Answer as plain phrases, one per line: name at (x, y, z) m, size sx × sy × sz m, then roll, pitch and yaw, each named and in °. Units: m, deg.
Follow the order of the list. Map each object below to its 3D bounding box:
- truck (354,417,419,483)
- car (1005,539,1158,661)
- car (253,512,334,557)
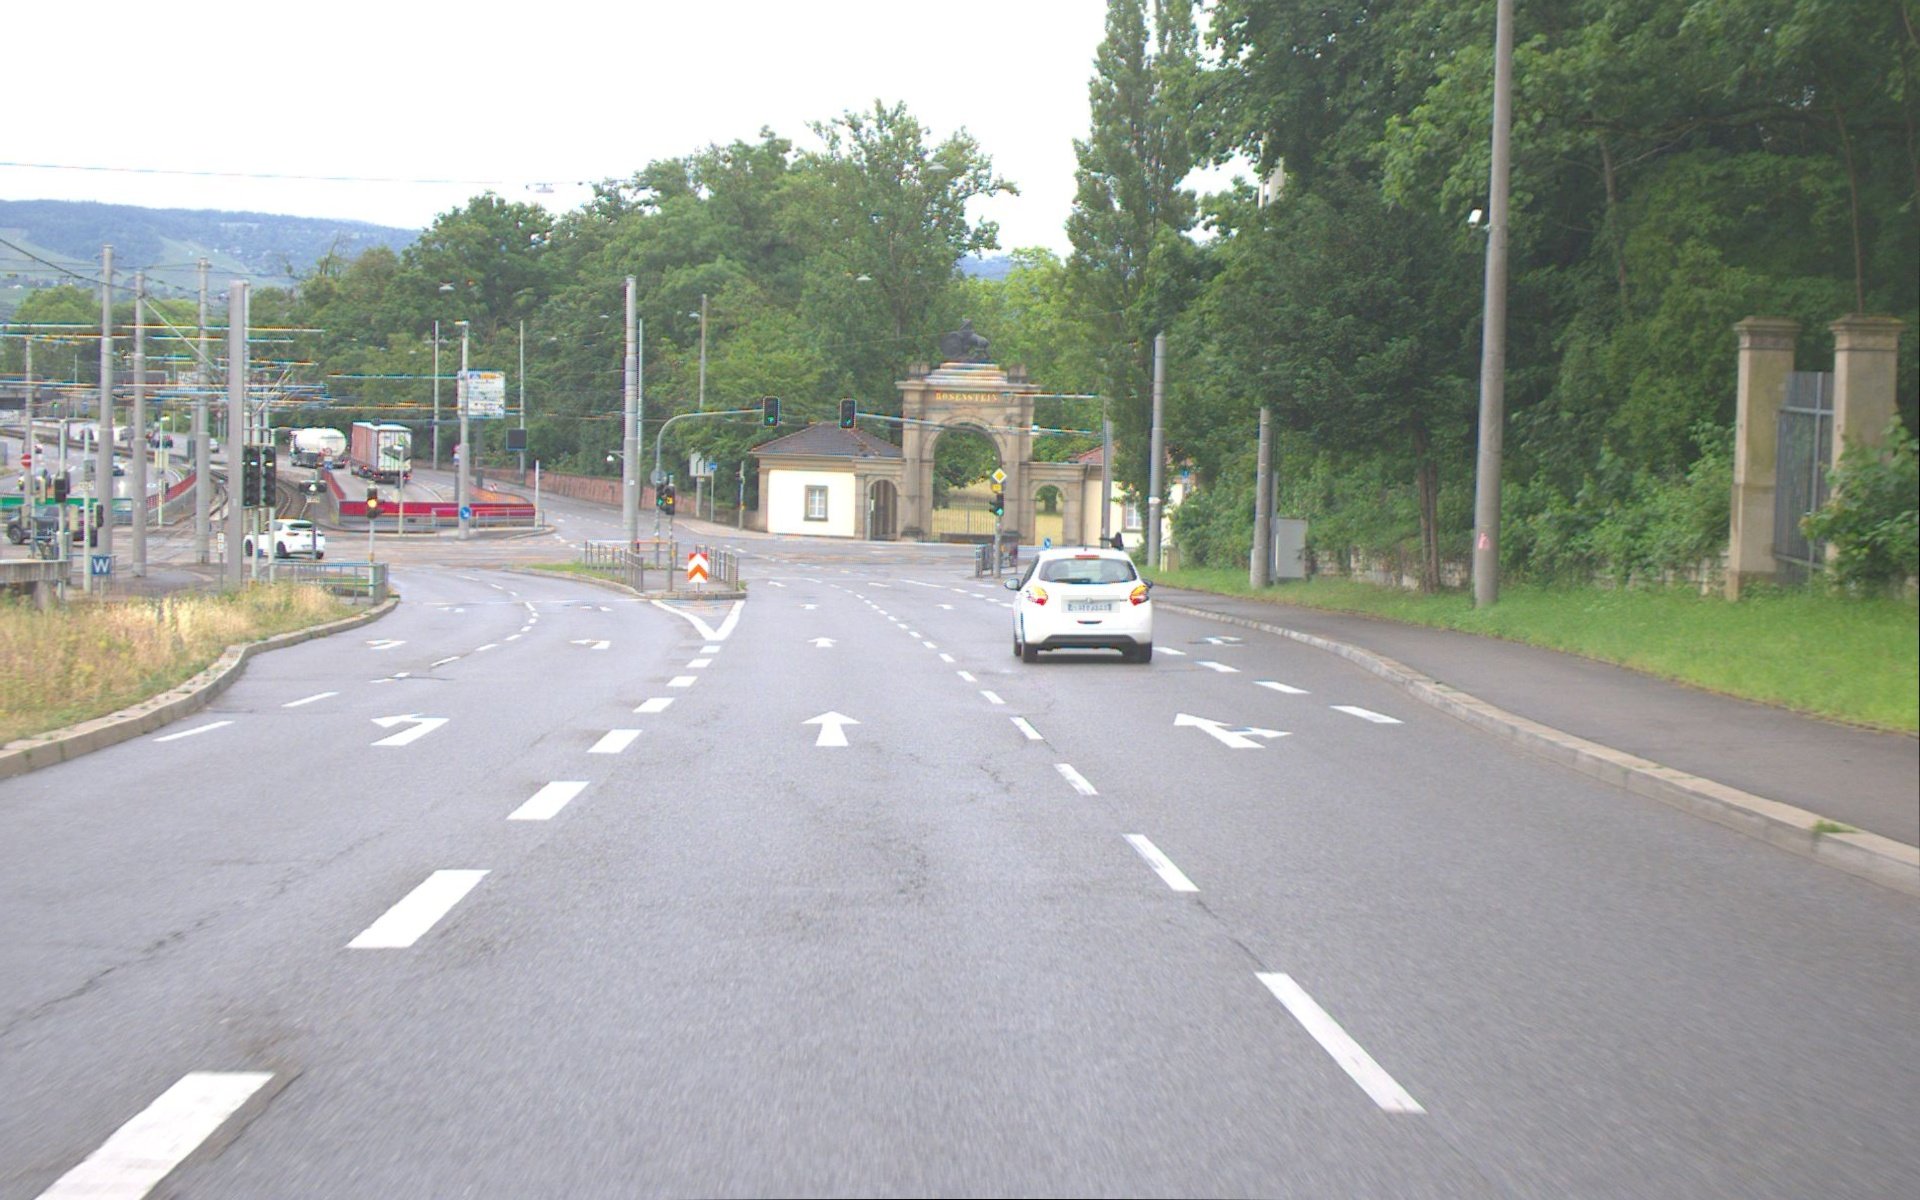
truck at (-42.698, -11.126, 255.819) m, size 3.413 × 4.555 × 11.291 m, roll 3°, pitch 1°, yaw -15°
car at (1.557, -0.024, 45.213) m, size 1.868 × 1.506 × 3.900 m, roll -1°, pitch 1°, yaw 0°
car at (-25.097, -2.471, 129.372) m, size 1.822 × 1.600 × 4.001 m, roll 0°, pitch 2°, yaw -29°
